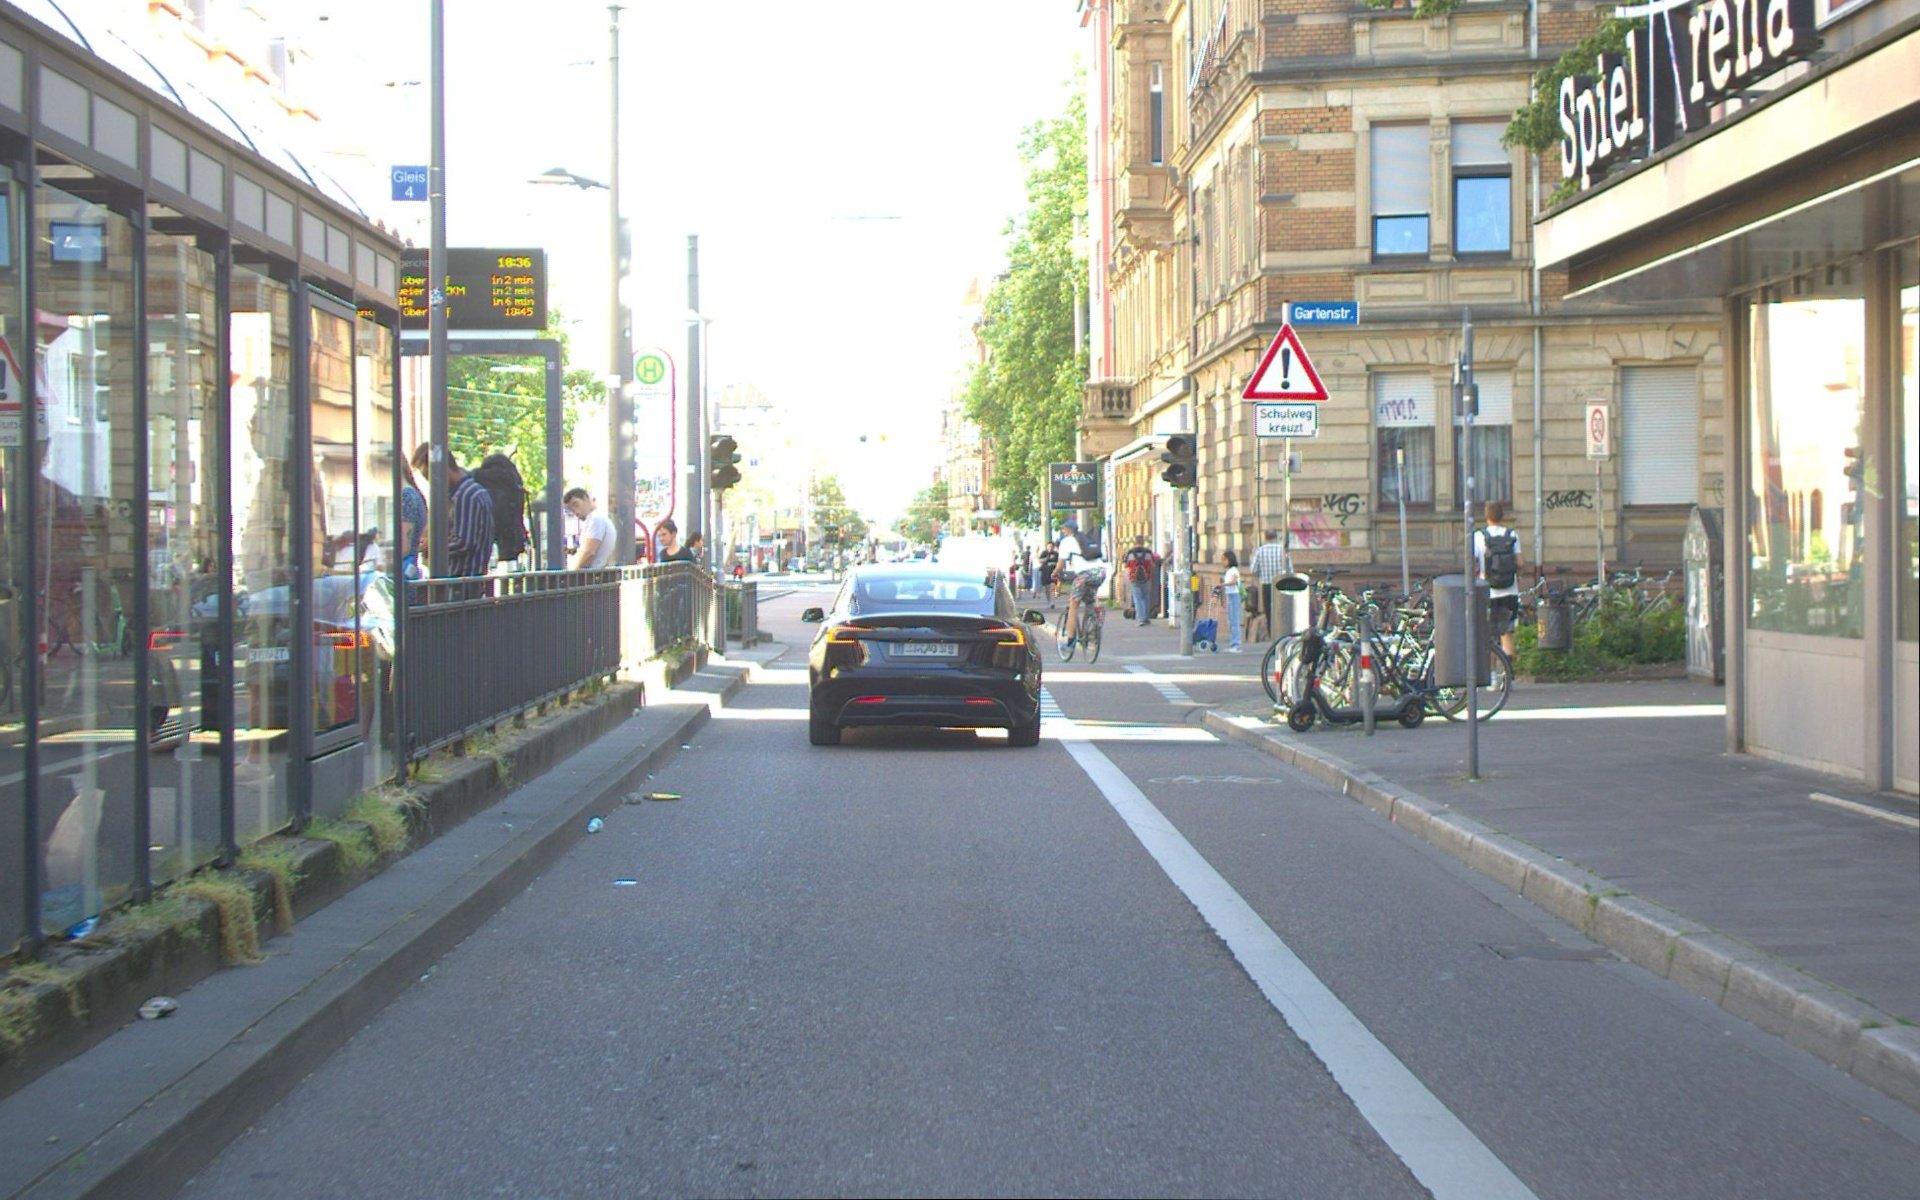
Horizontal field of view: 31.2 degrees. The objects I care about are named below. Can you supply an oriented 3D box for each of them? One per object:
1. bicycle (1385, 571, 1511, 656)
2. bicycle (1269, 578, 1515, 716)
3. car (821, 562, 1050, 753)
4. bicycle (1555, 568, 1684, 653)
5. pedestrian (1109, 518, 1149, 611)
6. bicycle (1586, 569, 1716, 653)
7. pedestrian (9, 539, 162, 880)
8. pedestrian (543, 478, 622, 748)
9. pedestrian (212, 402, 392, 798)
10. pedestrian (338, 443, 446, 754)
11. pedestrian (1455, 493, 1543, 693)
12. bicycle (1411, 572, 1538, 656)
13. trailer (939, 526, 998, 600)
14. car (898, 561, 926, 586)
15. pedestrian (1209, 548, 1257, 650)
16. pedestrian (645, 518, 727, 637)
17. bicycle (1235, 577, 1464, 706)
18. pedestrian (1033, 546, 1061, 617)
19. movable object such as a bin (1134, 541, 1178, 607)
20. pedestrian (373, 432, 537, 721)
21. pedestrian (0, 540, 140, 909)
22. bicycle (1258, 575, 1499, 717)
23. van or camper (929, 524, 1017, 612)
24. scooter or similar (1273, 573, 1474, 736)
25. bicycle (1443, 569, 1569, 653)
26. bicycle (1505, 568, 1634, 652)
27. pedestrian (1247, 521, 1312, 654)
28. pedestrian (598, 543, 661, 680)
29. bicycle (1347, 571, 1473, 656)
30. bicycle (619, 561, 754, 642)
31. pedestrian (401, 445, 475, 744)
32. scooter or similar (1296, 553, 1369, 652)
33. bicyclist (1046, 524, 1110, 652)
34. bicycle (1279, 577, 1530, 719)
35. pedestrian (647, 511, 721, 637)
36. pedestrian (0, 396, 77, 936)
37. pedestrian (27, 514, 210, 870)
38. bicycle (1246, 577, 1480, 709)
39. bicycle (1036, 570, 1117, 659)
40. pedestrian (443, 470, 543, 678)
[{"bbox_3d":[6.517,0.174,45.944,0.443,1.111,1.814,-1,1,-41],"label":"bicycle"},{"bbox_3d":[3.586,0.381,28.613,1.945,1.103,0.564,-1,1,-2],"label":"bicycle"},{"bbox_3d":[-0.248,0.419,27.955,1.719,1.400,3.710,1,1,-2],"label":"car"},{"bbox_3d":[8.877,0.130,46.335,0.443,1.111,1.814,-1,1,-42],"label":"bicycle"},{"bbox_3d":[3.166,-0.665,64.373,0.470,1.722,0.586,0,2,35],"label":"pedestrian"},{"bbox_3d":[9.351,0.137,46.581,0.443,1.111,1.814,-1,1,-42],"label":"bicycle"},{"bbox_3d":[-3.010,0.369,11.850,0.408,1.148,0.460,1,0,-2],"label":"pedestrian"},{"bbox_3d":[-3.001,0.096,27.373,0.537,2.113,0.808,-1,1,-2],"label":"pedestrian"},{"bbox_3d":[-2.995,-0.007,15.696,0.689,1.759,0.748,1,1,-2],"label":"pedestrian"},{"bbox_3d":[-3.051,-0.015,18.496,0.493,1.643,0.590,0,1,-2],"label":"pedestrian"},{"bbox_3d":[5.503,-0.059,35.162,0.716,1.978,0.943,1,-3,-1],"label":"pedestrian"},{"bbox_3d":[6.908,0.178,46.206,0.443,1.111,1.814,-1,1,-42],"label":"bicycle"},{"bbox_3d":[0.255,-1.087,101.099,1.661,2.109,3.842,1,0,0],"label":"trailer"},{"bbox_3d":[-2.850,-1.587,205.133,1.593,1.428,3.686,-1,0,0],"label":"car"},{"bbox_3d":[3.838,-0.023,48.332,0.574,1.410,0.580,1,1,11],"label":"pedestrian"},{"bbox_3d":[-3.583,-0.303,45.064,0.843,1.543,0.698,0,1,22],"label":"pedestrian"},{"bbox_3d":[3.468,0.366,30.674,1.945,1.103,0.564,-1,1,-2],"label":"bicycle"},{"bbox_3d":[2.230,-0.472,88.664,0.672,1.808,0.756,0,0,-2],"label":"pedestrian"},{"bbox_3d":[4.025,-0.531,70.702,0.775,1.343,1.299,0,0,-2],"label":"movable object such as a bin"},{"bbox_3d":[-3.271,-0.147,22.251,0.770,1.825,0.804,1,0,-31],"label":"pedestrian"},{"bbox_3d":[-2.848,0.386,10.946,0.365,1.148,0.460,1,0,-2],"label":"pedestrian"},{"bbox_3d":[3.555,0.382,29.267,1.945,1.162,0.628,-1,1,-2],"label":"bicycle"},{"bbox_3d":[0.284,-0.760,83.690,1.931,2.030,5.476,1,0,-2],"label":"van or camper"},{"bbox_3d":[3.278,0.426,27.340,1.478,1.225,0.591,-2,1,0],"label":"scooter or similar"},{"bbox_3d":[7.364,0.135,46.418,0.443,1.111,1.814,-1,1,-42],"label":"bicycle"},{"bbox_3d":[8.188,0.126,46.230,0.443,1.111,1.814,-1,1,-42],"label":"bicycle"},{"bbox_3d":[4.388,-0.182,47.292,0.847,1.801,0.876,-1,2,4],"label":"pedestrian"},{"bbox_3d":[-3.229,0.110,33.581,0.480,1.325,0.354,0,1,29],"label":"pedestrian"},{"bbox_3d":[5.989,0.166,45.814,0.443,1.111,1.814,-1,1,-41],"label":"bicycle"},{"bbox_3d":[-3.998,0.018,50.174,1.942,1.090,0.598,3,1,33],"label":"bicycle"},{"bbox_3d":[-2.947,-0.034,19.430,0.351,1.663,0.529,0,1,-2],"label":"pedestrian"},{"bbox_3d":[4.926,0.020,45.516,0.390,1.285,1.523,-1,1,-17],"label":"scooter or similar"},{"bbox_3d":[1.536,-0.163,44.919,0.655,1.650,0.927,0,0,-10],"label":"bicyclist"},{"bbox_3d":[3.610,0.384,27.999,1.945,1.103,0.564,-1,1,-2],"label":"bicycle"},{"bbox_3d":[-4.029,-0.377,50.186,0.594,1.815,0.940,2,1,32],"label":"pedestrian"},{"bbox_3d":[-2.916,0.190,10.064,0.541,1.567,0.322,1,0,-38],"label":"pedestrian"},{"bbox_3d":[-3.016,0.321,12.345,0.540,1.248,0.460,1,0,-2],"label":"pedestrian"},{"bbox_3d":[3.511,0.372,30.027,1.945,1.103,0.564,-1,1,-2],"label":"bicycle"},{"bbox_3d":[1.516,0.176,45.010,0.647,1.135,2.096,0,1,-10],"label":"bicycle"},{"bbox_3d":[-3.945,-0.223,29.069,0.763,1.728,0.590,0,1,-1],"label":"pedestrian"}]
